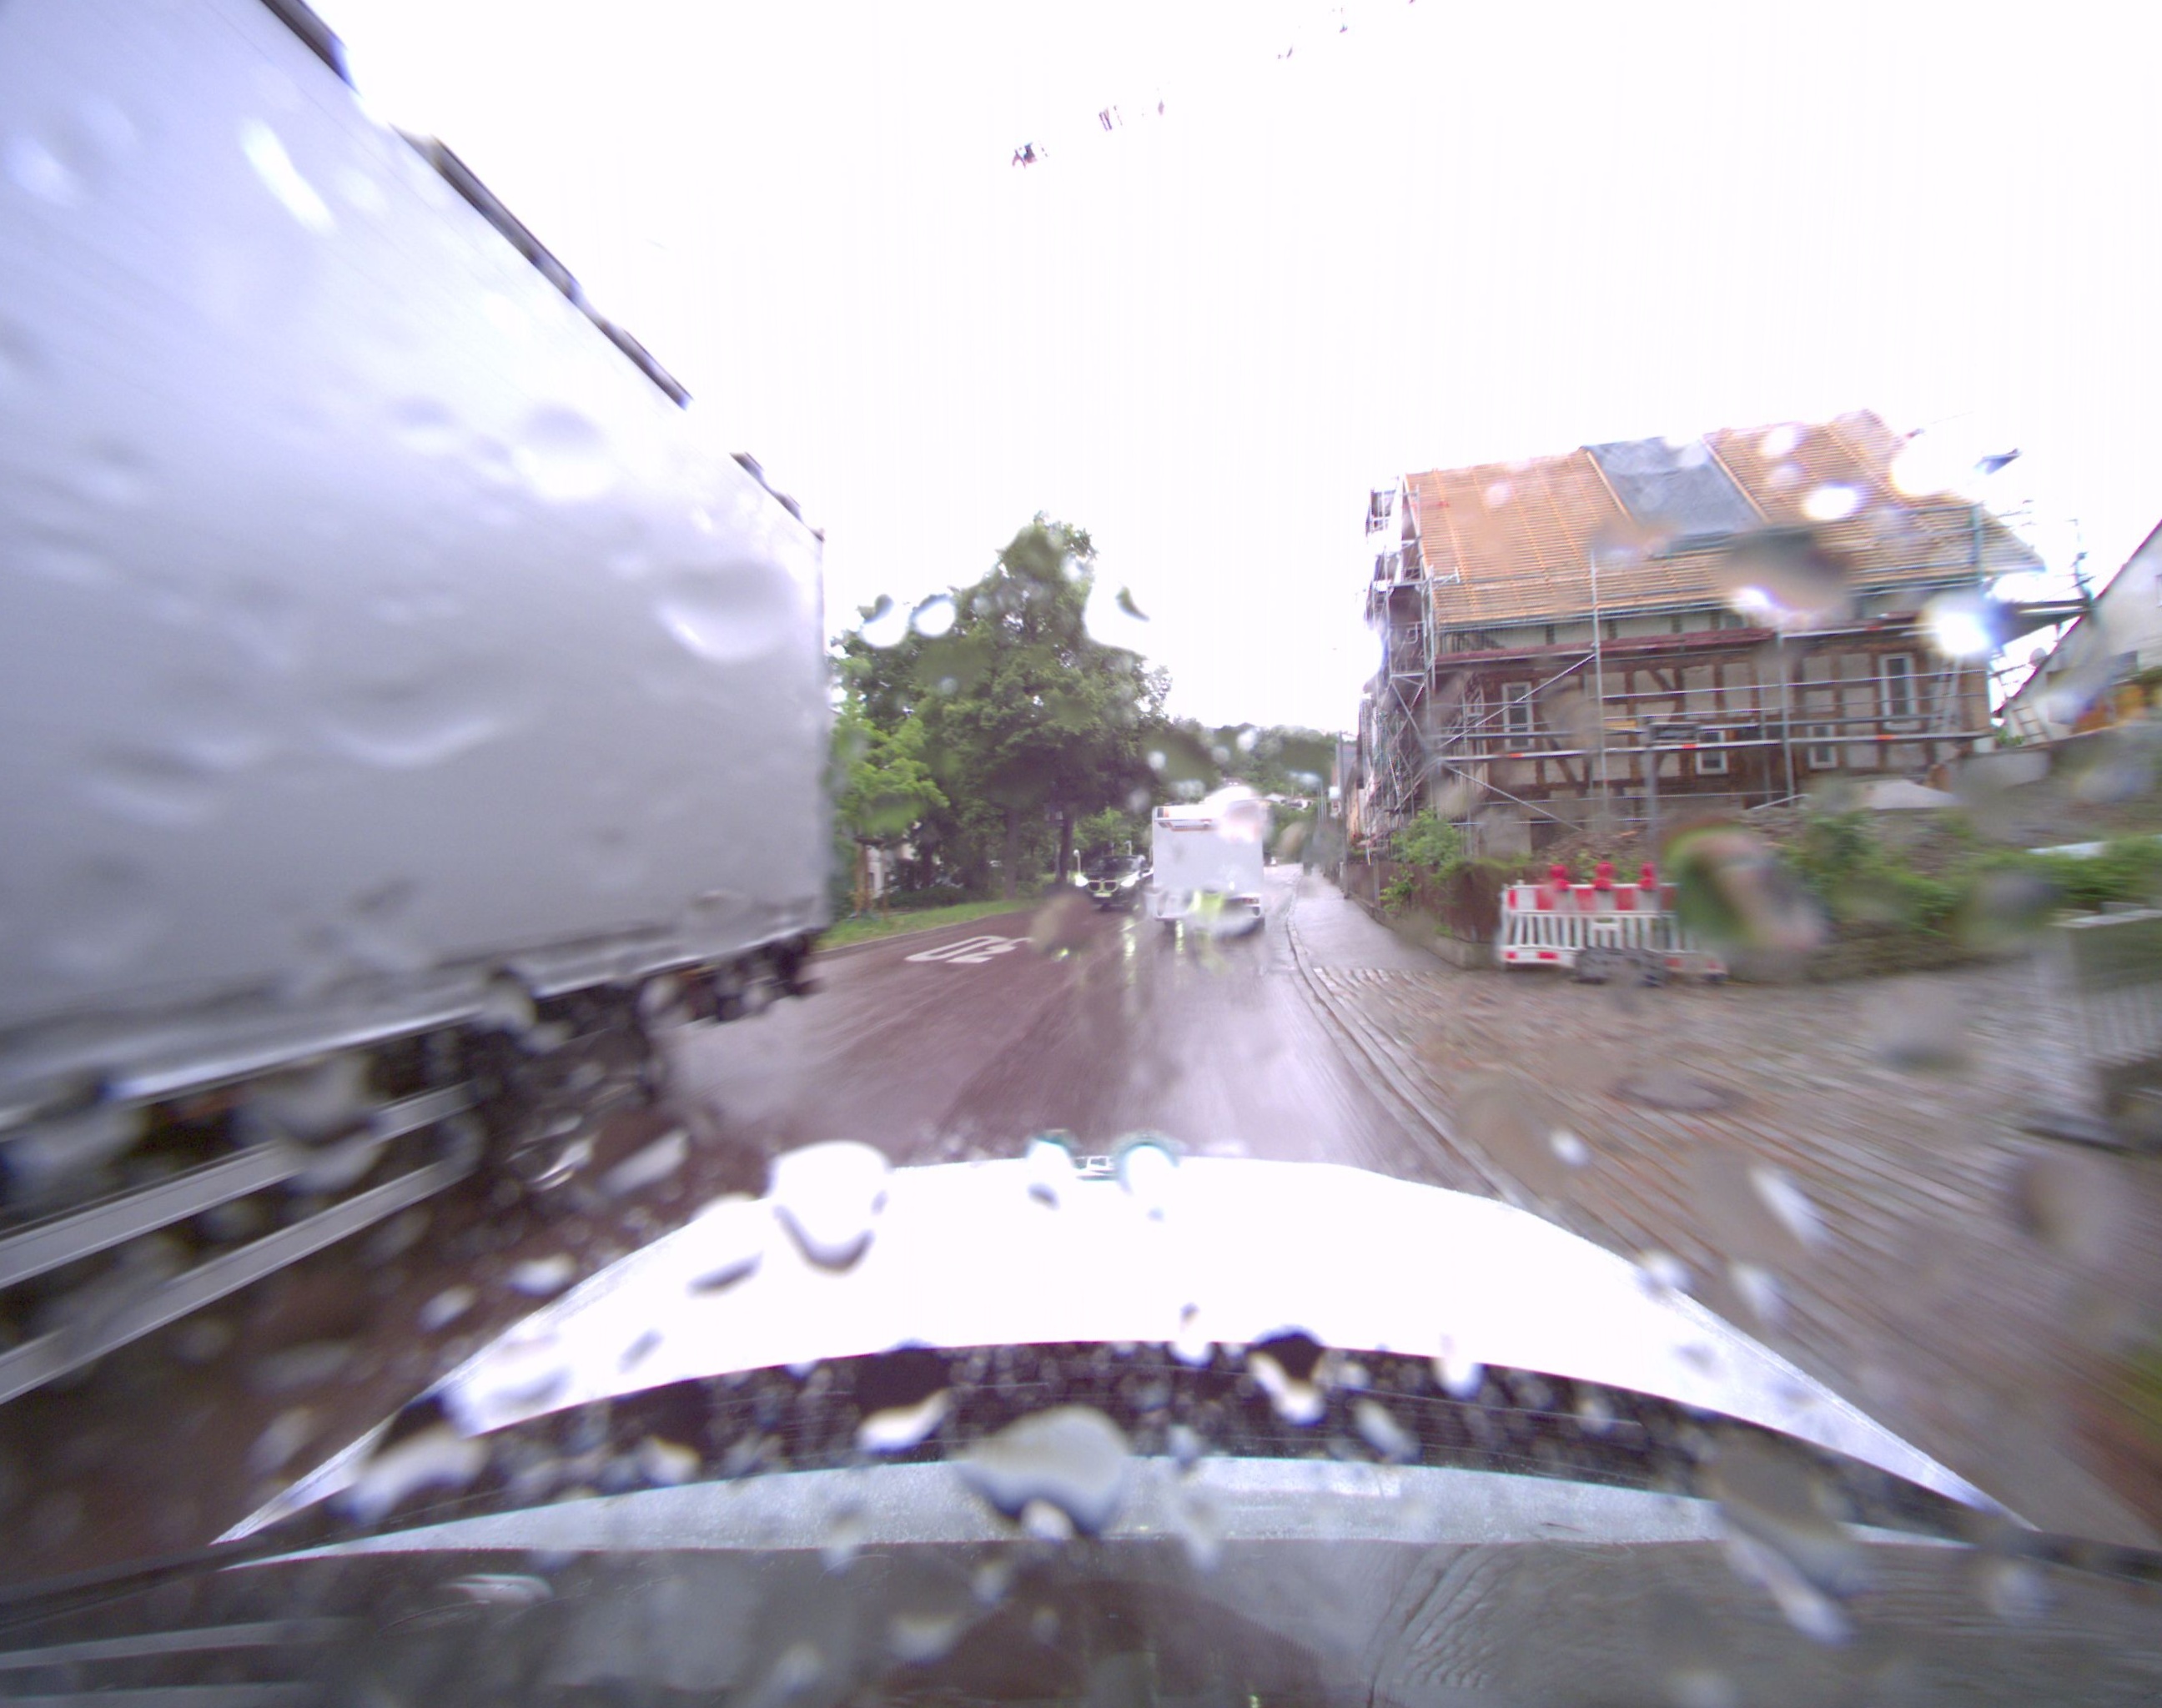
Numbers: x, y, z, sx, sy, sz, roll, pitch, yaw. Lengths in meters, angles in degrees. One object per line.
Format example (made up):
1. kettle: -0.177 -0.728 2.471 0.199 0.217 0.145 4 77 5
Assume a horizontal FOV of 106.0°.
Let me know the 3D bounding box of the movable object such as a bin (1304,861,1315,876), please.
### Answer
1. movable object such as a bin: 16.938 1.066 60.361 0.714 1.052 0.804 -1 -1 19

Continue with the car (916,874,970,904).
1. car: -6.659 1.651 39.641 1.986 1.329 3.448 0 -1 1

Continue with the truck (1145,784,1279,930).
1. truck: 3.275 0.080 18.993 2.497 2.817 6.225 -1 -1 14

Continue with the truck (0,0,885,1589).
1. truck: -3.577 -0.507 1.825 2.834 3.968 10.445 0 -1 5

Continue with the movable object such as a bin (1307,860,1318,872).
1. movable object such as a bin: 20.361 1.044 71.734 0.906 1.103 0.705 -1 -1 18

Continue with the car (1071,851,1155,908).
1. car: 1.086 0.754 25.344 1.875 1.616 4.153 -1 -1 12
